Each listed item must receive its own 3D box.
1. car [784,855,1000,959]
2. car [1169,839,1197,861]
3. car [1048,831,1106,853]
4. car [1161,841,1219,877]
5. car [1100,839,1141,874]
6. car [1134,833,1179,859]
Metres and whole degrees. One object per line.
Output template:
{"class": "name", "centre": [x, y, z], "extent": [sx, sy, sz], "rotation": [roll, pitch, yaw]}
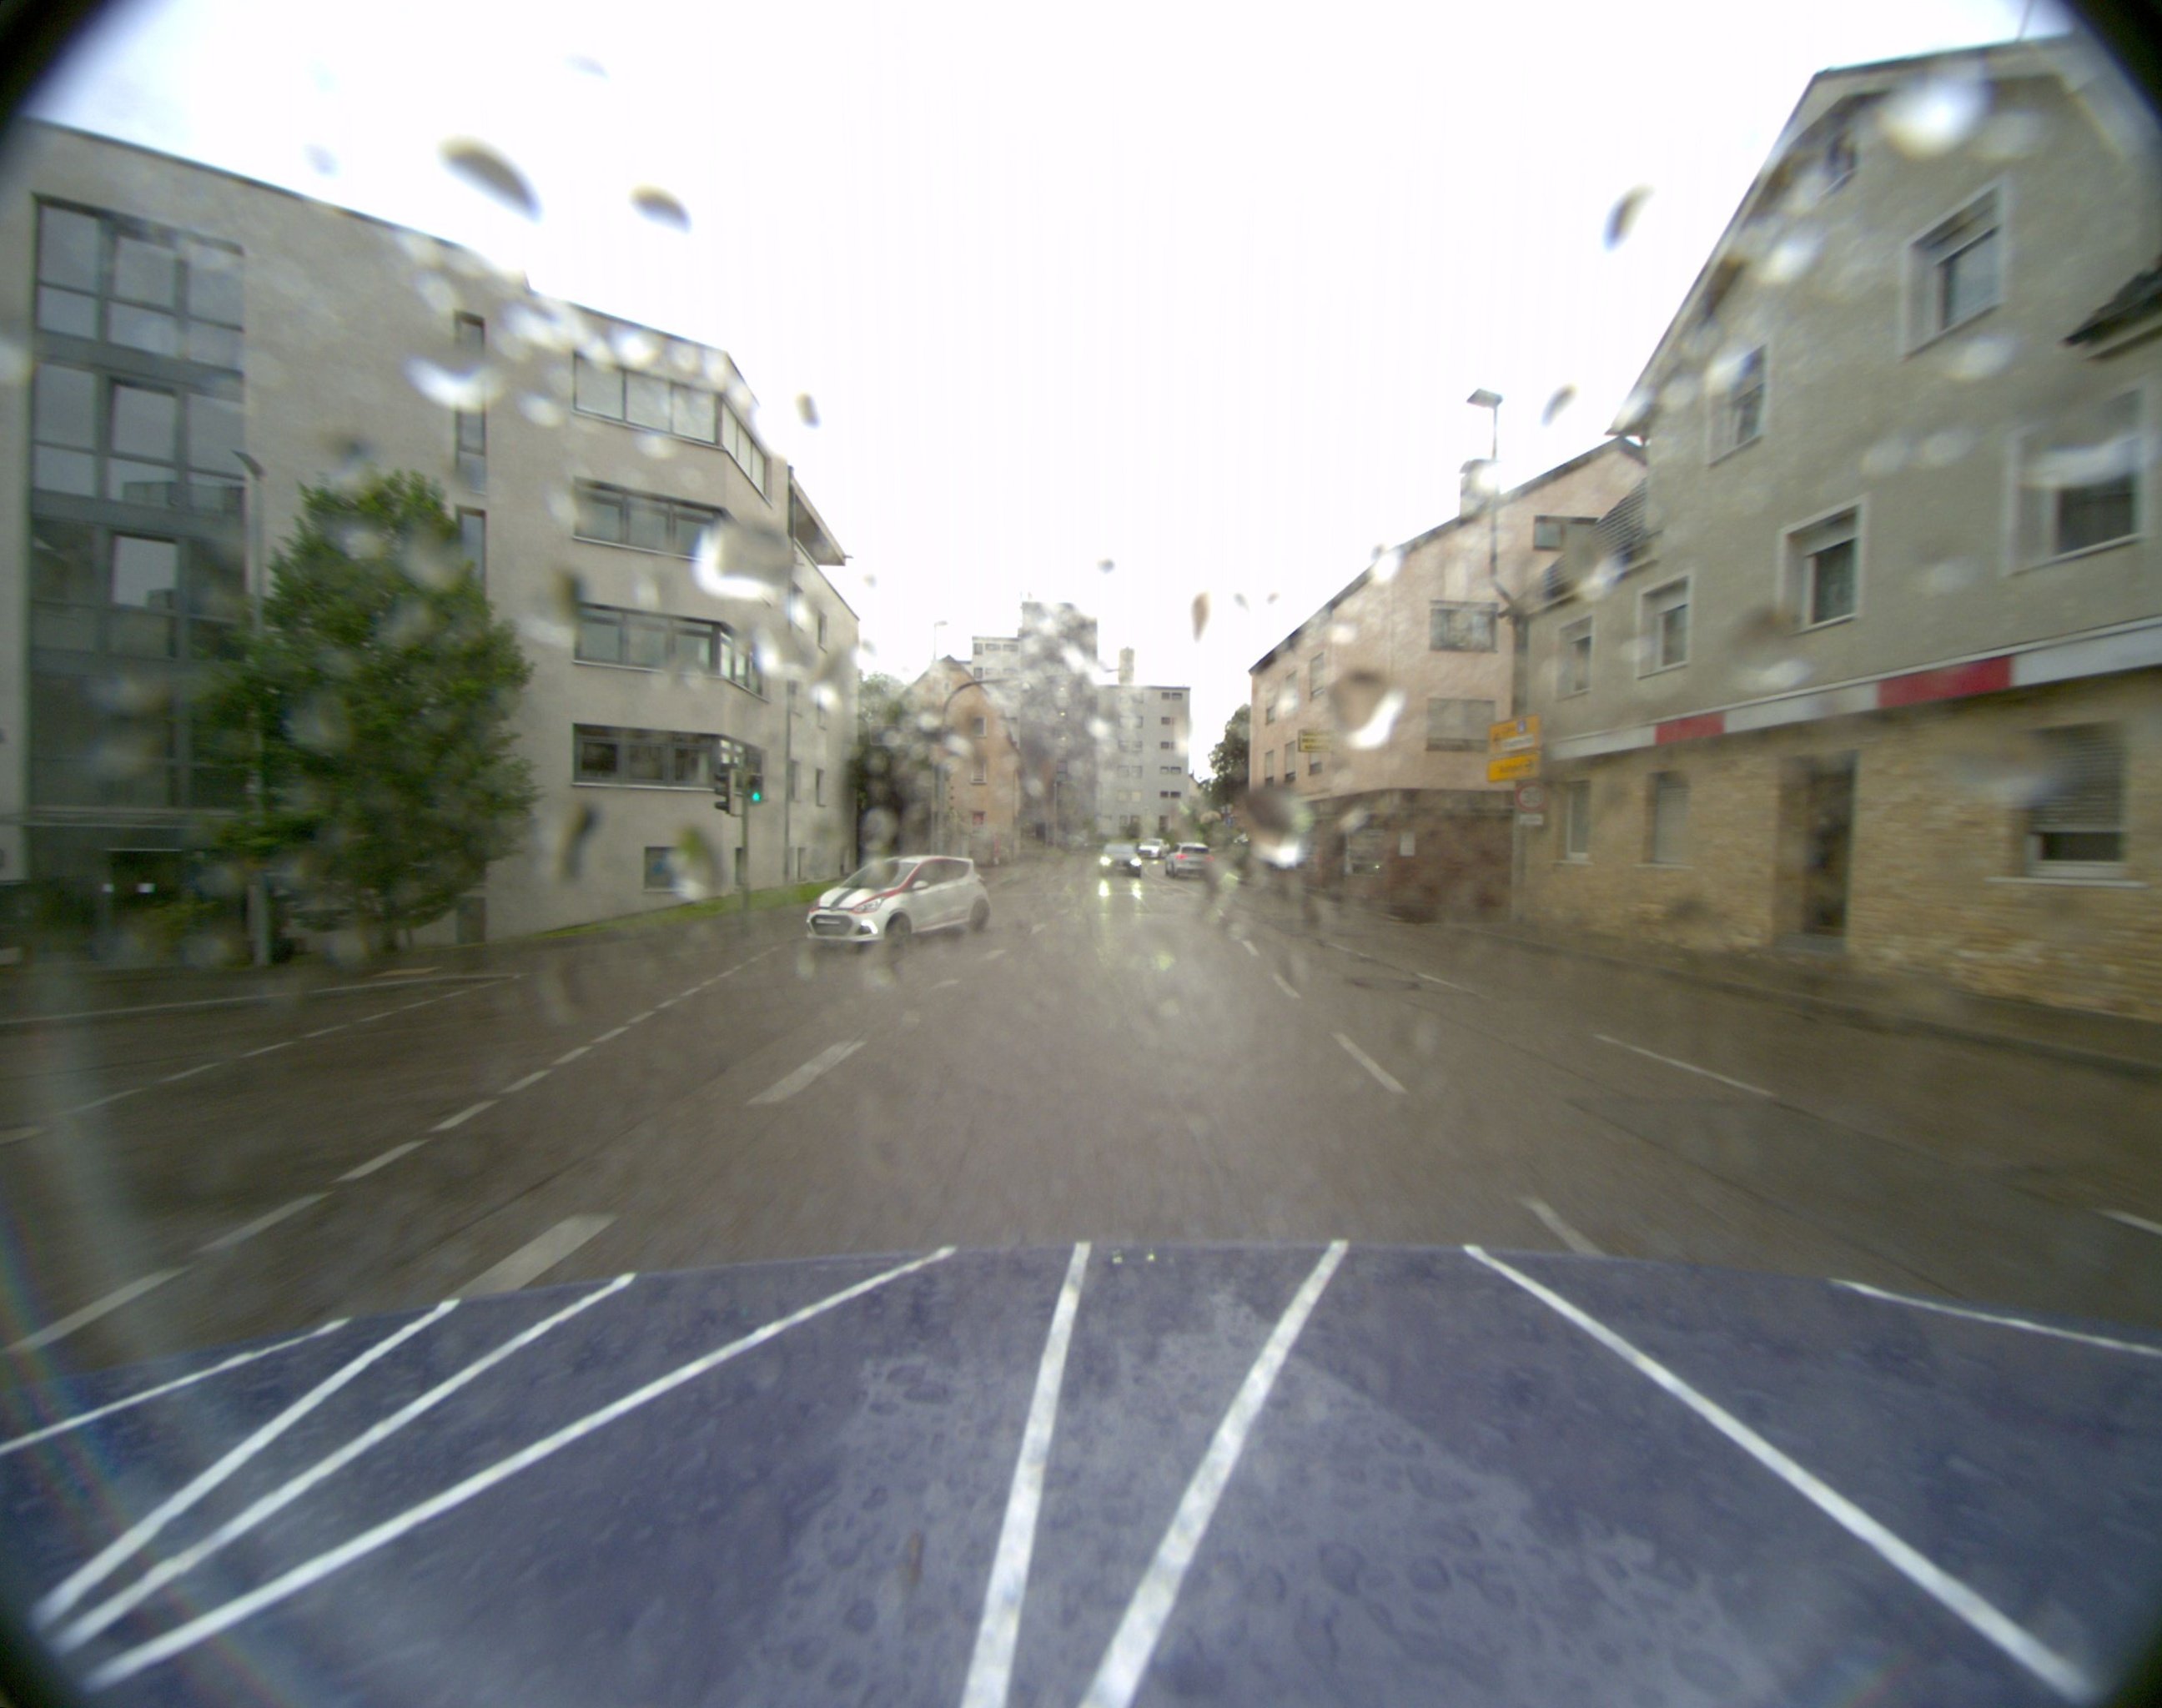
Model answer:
{"class": "car", "centre": [-3.280, 0.861, 13.944], "extent": [1.708, 1.445, 3.769], "rotation": [-2, 2, 27]}
{"class": "car", "centre": [7.016, -0.254, 52.614], "extent": [1.693, 1.365, 4.115], "rotation": [2, 0, 6]}
{"class": "car", "centre": [-0.353, -1.017, 62.352], "extent": [4.407, 1.565, 1.721], "rotation": [4, 4, 25]}
{"class": "car", "centre": [4.991, 0.198, 35.378], "extent": [1.790, 1.551, 4.335], "rotation": [1, 0, -3]}
{"class": "car", "centre": [1.910, 0.075, 36.318], "extent": [1.837, 1.505, 4.847], "rotation": [0, 2, 3]}
{"class": "car", "centre": [5.996, -0.585, 59.960], "extent": [1.896, 1.649, 4.955], "rotation": [4, -1, 25]}
